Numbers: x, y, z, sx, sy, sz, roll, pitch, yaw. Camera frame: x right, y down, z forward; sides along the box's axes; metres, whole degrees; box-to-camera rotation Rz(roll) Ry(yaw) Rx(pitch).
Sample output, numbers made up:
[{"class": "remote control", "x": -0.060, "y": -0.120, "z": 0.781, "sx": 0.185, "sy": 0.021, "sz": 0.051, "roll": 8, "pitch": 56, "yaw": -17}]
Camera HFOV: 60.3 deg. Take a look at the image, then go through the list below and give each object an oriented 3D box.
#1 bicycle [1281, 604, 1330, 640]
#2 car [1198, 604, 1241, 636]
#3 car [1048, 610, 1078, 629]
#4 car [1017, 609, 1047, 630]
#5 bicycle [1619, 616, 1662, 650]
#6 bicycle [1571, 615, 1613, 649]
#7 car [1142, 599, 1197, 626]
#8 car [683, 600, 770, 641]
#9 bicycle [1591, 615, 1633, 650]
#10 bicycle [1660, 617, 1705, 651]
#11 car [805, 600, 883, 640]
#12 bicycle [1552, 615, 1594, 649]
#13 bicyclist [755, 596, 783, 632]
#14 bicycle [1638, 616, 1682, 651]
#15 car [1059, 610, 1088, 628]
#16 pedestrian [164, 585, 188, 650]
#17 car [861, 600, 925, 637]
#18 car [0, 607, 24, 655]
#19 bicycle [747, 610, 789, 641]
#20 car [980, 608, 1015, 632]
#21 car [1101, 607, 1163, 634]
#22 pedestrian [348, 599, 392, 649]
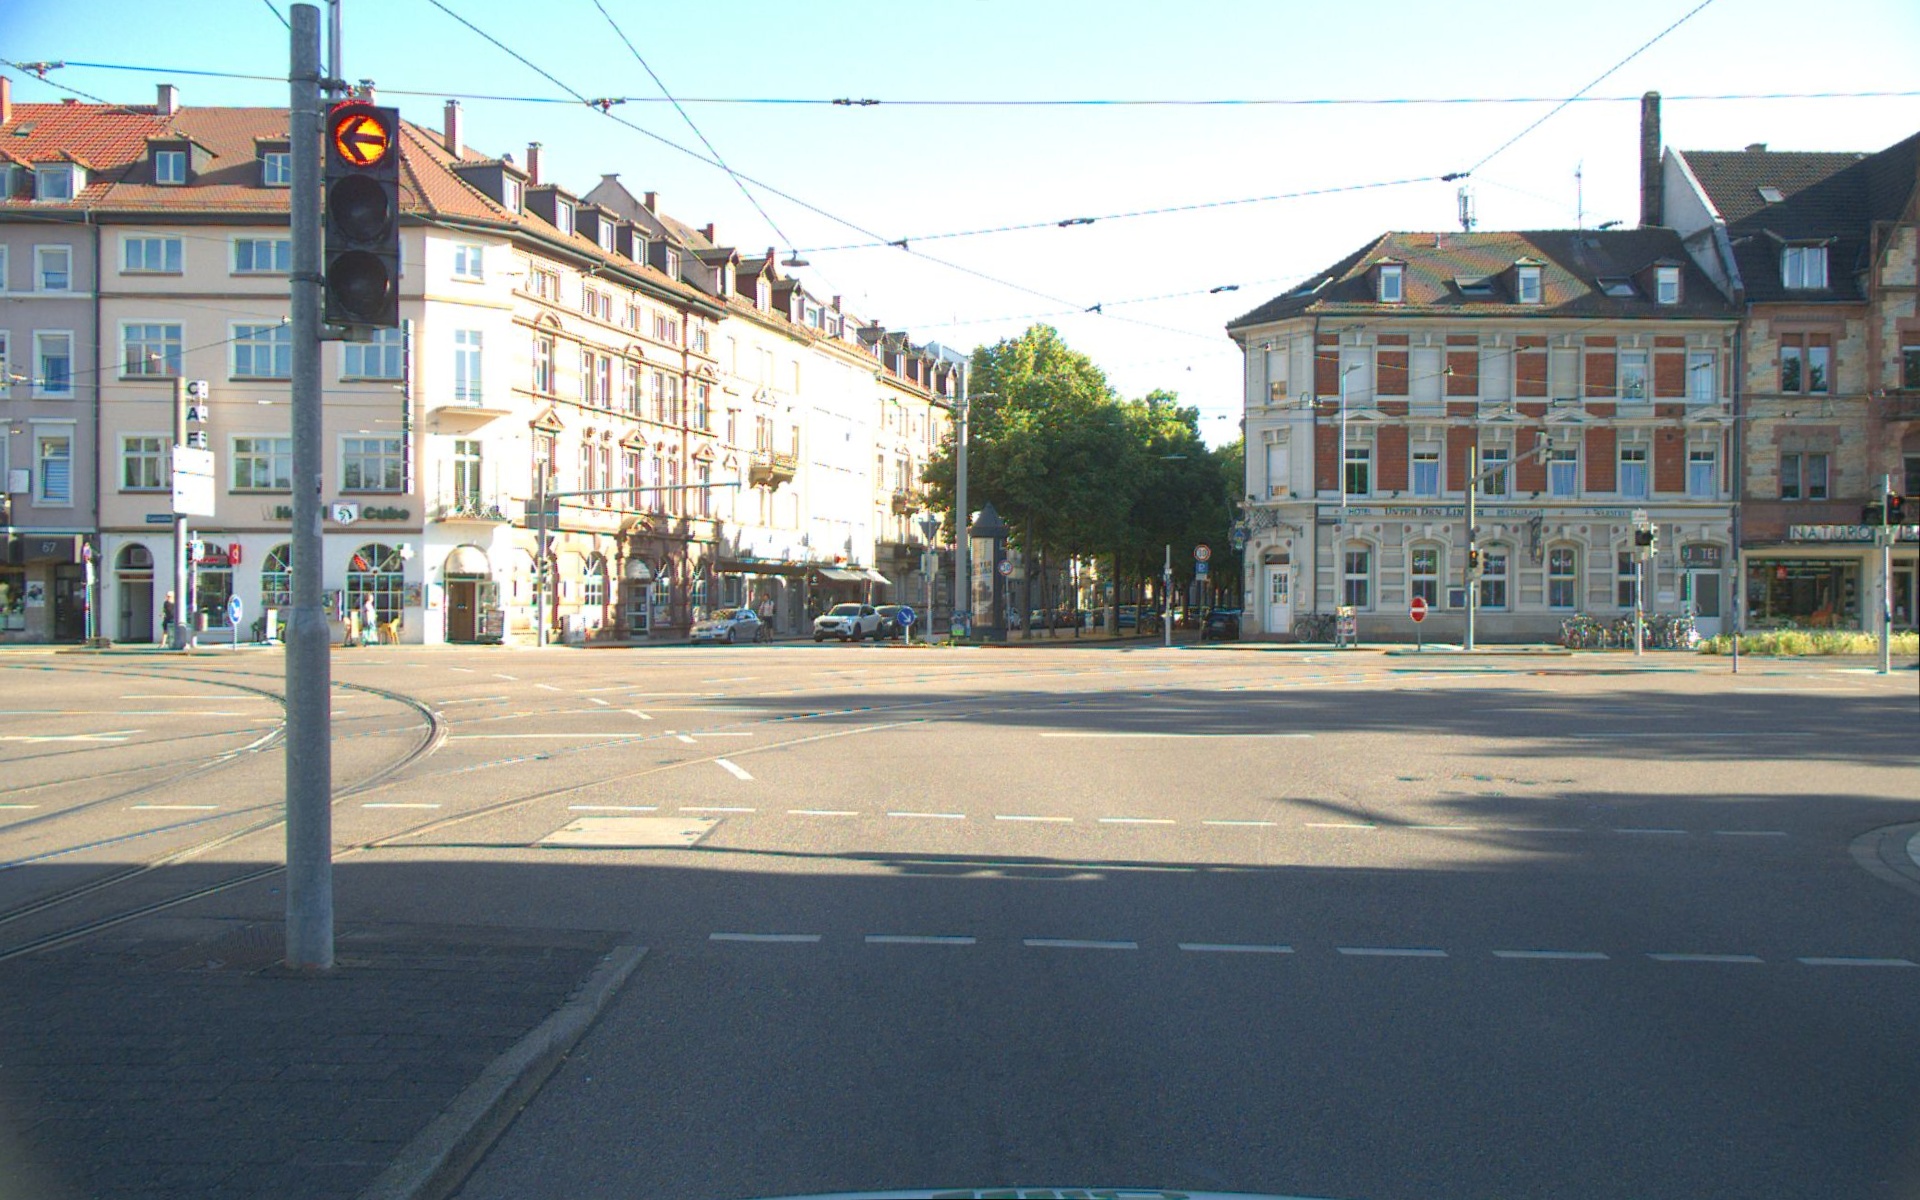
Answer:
[{"class": "bicycle", "x": 11.974, "y": 0.761, "z": 57.305, "sx": 1.603, "sy": 1.243, "sz": 0.607, "roll": 0, "pitch": 0, "yaw": 16}, {"class": "car", "x": 12.973, "y": 1.001, "z": 82.468, "sx": 1.616, "sy": 1.551, "sz": 3.755, "roll": 0, "pitch": -1, "yaw": 17}, {"class": "car", "x": 8.243, "y": 1.537, "z": 131.709, "sx": 1.704, "sy": 1.422, "sz": 4.127, "roll": 3, "pitch": 0, "yaw": 13}, {"class": "car", "x": 5.334, "y": 1.413, "z": 122.842, "sx": 1.704, "sy": 1.422, "sz": 4.127, "roll": 3, "pitch": 0, "yaw": 9}, {"class": "bicycle", "x": 21.942, "y": 1.057, "z": 53.328, "sx": 0.593, "sy": 1.069, "sz": 1.641, "roll": 0, "pitch": 0, "yaw": -6}, {"class": "bicycle", "x": 20.464, "y": 1.032, "z": 53.570, "sx": 0.593, "sy": 1.069, "sz": 1.641, "roll": 0, "pitch": 0, "yaw": -6}, {"class": "car", "x": 16.957, "y": 1.011, "z": 133.667, "sx": 4.026, "sy": 1.952, "sz": 1.746, "roll": 3, "pitch": 0, "yaw": 21}, {"class": "car", "x": -9.452, "y": 0.812, "z": 67.223, "sx": 2.052, "sy": 1.572, "sz": 4.367, "roll": 0, "pitch": 0, "yaw": 13}, {"class": "bicycle", "x": 21.116, "y": 1.044, "z": 53.596, "sx": 0.593, "sy": 1.069, "sz": 1.641, "roll": 0, "pitch": 0, "yaw": -6}, {"class": "bicycle", "x": 23.329, "y": 1.081, "z": 53.425, "sx": 0.593, "sy": 1.069, "sz": 1.641, "roll": 0, "pitch": 0, "yaw": -6}, {"class": "car", "x": -4.653, "y": 0.789, "z": 67.082, "sx": 2.052, "sy": 1.525, "sz": 4.003, "roll": 0, "pitch": 0, "yaw": 13}, {"class": "bicycle", "x": 19.824, "y": 1.021, "z": 53.514, "sx": 0.593, "sy": 1.069, "sz": 1.641, "roll": 0, "pitch": 0, "yaw": -6}, {"class": "bicyclist", "x": -7.561, "y": 0.543, "z": 65.467, "sx": 0.776, "sy": 1.399, "sz": 1.109, "roll": 0, "pitch": 0, "yaw": 14}, {"class": "bicycle", "x": 22.603, "y": 1.068, "z": 53.404, "sx": 0.593, "sy": 1.069, "sz": 1.641, "roll": 0, "pitch": 0, "yaw": -6}, {"class": "car", "x": 9.421, "y": 1.573, "z": 136.505, "sx": 1.704, "sy": 1.422, "sz": 4.127, "roll": 3, "pitch": 0, "yaw": 13}, {"class": "pedestrian", "x": -24.668, "y": 0.541, "z": 52.037, "sx": 0.498, "sy": 2.049, "sz": 0.505, "roll": 0, "pitch": 0, "yaw": 2}, {"class": "car", "x": -2.961, "y": 0.797, "z": 73.475, "sx": 1.951, "sy": 1.540, "sz": 4.004, "roll": 0, "pitch": 0, "yaw": 11}, {"class": "car", "x": -32.064, "y": 1.001, "z": 52.158, "sx": 3.910, "sy": 1.489, "sz": 1.998, "roll": -1, "pitch": 1, "yaw": -6}, {"class": "bicycle", "x": -7.575, "y": 0.994, "z": 65.497, "sx": 0.734, "sy": 1.155, "sz": 2.812, "roll": 0, "pitch": 0, "yaw": 14}, {"class": "car", "x": 2.525, "y": 1.310, "z": 110.019, "sx": 1.704, "sy": 1.422, "sz": 4.127, "roll": 3, "pitch": 0, "yaw": 9}, {"class": "car", "x": 12.004, "y": 1.401, "z": 115.387, "sx": 4.023, "sy": 1.675, "sz": 1.748, "roll": 3, "pitch": 0, "yaw": 15}, {"class": "pedestrian", "x": -19.327, "y": 0.767, "z": 54.199, "sx": 1.043, "sy": 1.618, "sz": 1.042, "roll": 0, "pitch": 0, "yaw": 1}]
